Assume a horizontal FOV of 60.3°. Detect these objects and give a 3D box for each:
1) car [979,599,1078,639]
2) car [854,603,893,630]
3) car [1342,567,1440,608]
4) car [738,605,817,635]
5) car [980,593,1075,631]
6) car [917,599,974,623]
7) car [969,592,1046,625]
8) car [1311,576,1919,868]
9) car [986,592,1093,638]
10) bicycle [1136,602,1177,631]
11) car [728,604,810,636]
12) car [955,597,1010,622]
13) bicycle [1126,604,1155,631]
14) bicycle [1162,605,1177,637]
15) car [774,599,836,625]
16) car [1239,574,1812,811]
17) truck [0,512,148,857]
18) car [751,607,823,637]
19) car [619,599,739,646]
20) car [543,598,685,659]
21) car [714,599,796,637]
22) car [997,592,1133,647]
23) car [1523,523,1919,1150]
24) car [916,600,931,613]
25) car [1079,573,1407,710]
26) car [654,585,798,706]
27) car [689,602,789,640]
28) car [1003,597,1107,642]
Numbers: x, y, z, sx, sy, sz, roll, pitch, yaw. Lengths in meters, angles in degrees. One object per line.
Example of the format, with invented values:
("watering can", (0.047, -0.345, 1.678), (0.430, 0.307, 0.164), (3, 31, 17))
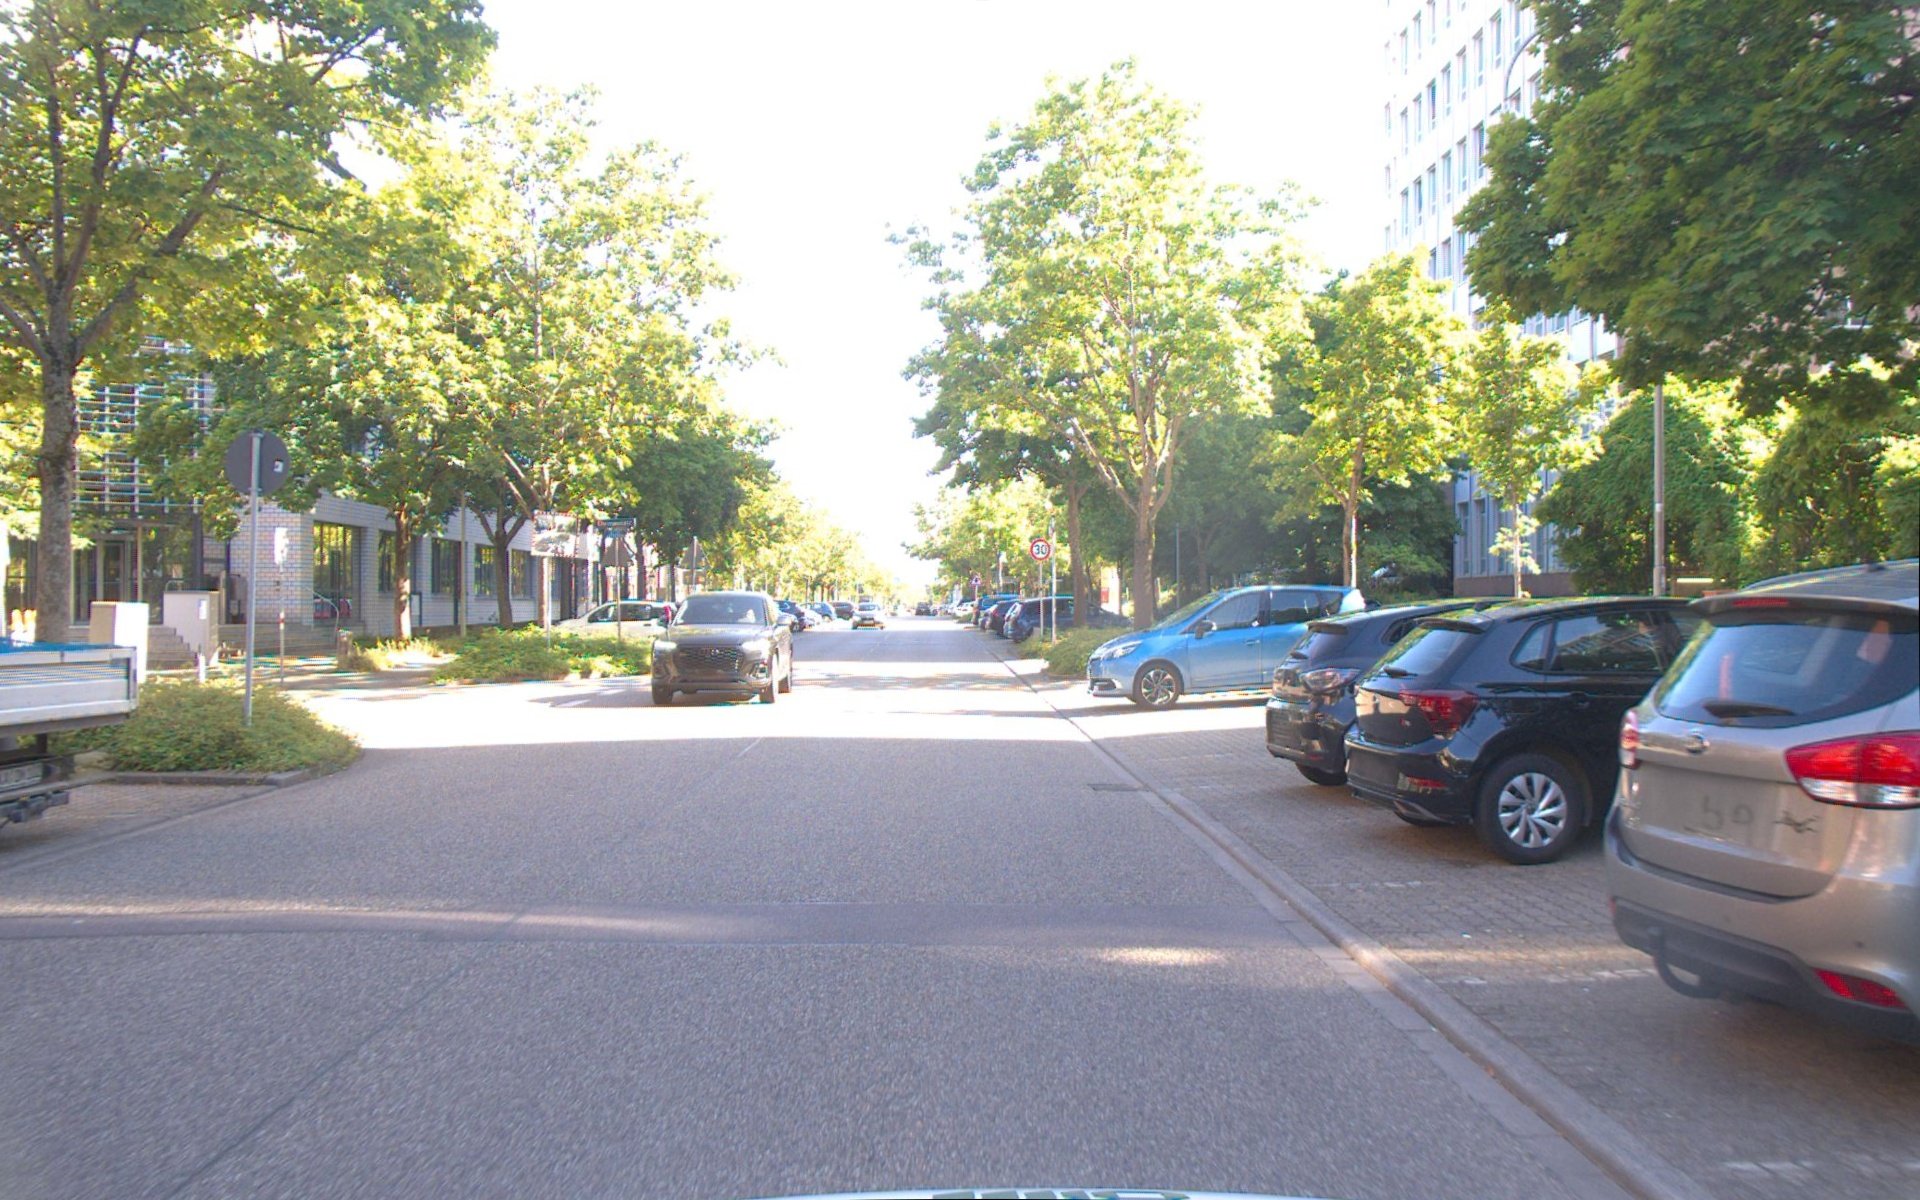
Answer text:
("car", (2.907, 0.792, 70.386), (3.968, 1.619, 1.547), (-1, 0, -9))
("car", (-4.717, 0.891, 90.758), (1.775, 1.440, 4.108), (0, 0, 2))
("car", (20.276, -0.566, 77.863), (3.993, 1.814, 1.998), (1, -1, -6))
("car", (-9.216, 0.993, 83.776), (3.814, 1.489, 1.857), (0, 0, -2))
("car", (2.975, 0.540, 73.268), (3.966, 1.517, 1.548), (-2, 0, -6))
("car", (-1.036, 0.773, 118.796), (3.910, 1.653, 1.997), (0, 0, -6))
("car", (2.425, 0.435, 85.364), (3.816, 1.685, 1.857), (0, 0, -4))
("car", (4.268, 0.663, 10.217), (3.728, 1.433, 1.699), (-3, 1, -7))
("car", (3.174, 0.592, 65.830), (4.160, 1.581, 1.920), (-3, 0, 3))
("bicycle", (7.557, 0.648, 63.678), (0.377, 1.097, 1.759), (0, 0, -42))
("car", (-9.283, 0.965, 80.623), (3.814, 1.489, 1.857), (0, 0, -2))
("car", (1.702, 0.718, 125.506), (3.910, 1.824, 1.997), (0, 0, -6))
("bicycle", (7.398, 0.727, 67.774), (0.373, 1.097, 1.775), (0, 0, -22))
("bicycle", (7.396, 0.731, 58.432), (0.371, 1.065, 1.886), (-2, 0, 4))
("car", (-10.365, 0.801, 110.935), (3.904, 1.683, 1.860), (-1, 0, 1))
("car", (4.248, 0.656, 12.853), (3.769, 1.509, 1.824), (-3, 1, -2))
("truck", (-7.988, 0.513, 10.202), (4.882, 1.993, 2.138), (-1, 0, 0))
("car", (-9.582, 1.203, 91.658), (3.814, 1.640, 1.857), (0, 0, -2))
("car", (-9.190, 0.738, 54.271), (3.657, 1.489, 1.676), (0, 0, -2))
("car", (-9.296, 0.788, 44.624), (3.509, 1.577, 1.636), (0, -3, -4))
("car", (-9.336, 0.817, 75.490), (3.468, 1.686, 1.761), (0, -1, 0))
("car", (3.398, 0.622, 54.027), (4.183, 1.662, 1.857), (-1, 0, -4))
("car", (4.389, 0.532, 5.561), (4.270, 1.625, 1.936), (-3, 0, -8))
("car", (-4.855, 0.844, 219.826), (1.894, 1.625, 4.365), (-1, 0, -2))
("car", (4.017, 0.573, 23.964), (4.317, 1.646, 1.911), (-3, 0, -2))
("car", (-3.570, 0.657, 25.939), (1.854, 1.713, 4.350), (-1, 0, -3))
("car", (-8.897, 0.853, 66.688), (3.814, 1.489, 1.857), (0, 0, -2))
("car", (3.389, 0.706, 59.449), (3.563, 1.492, 1.632), (-2, 0, -4))
